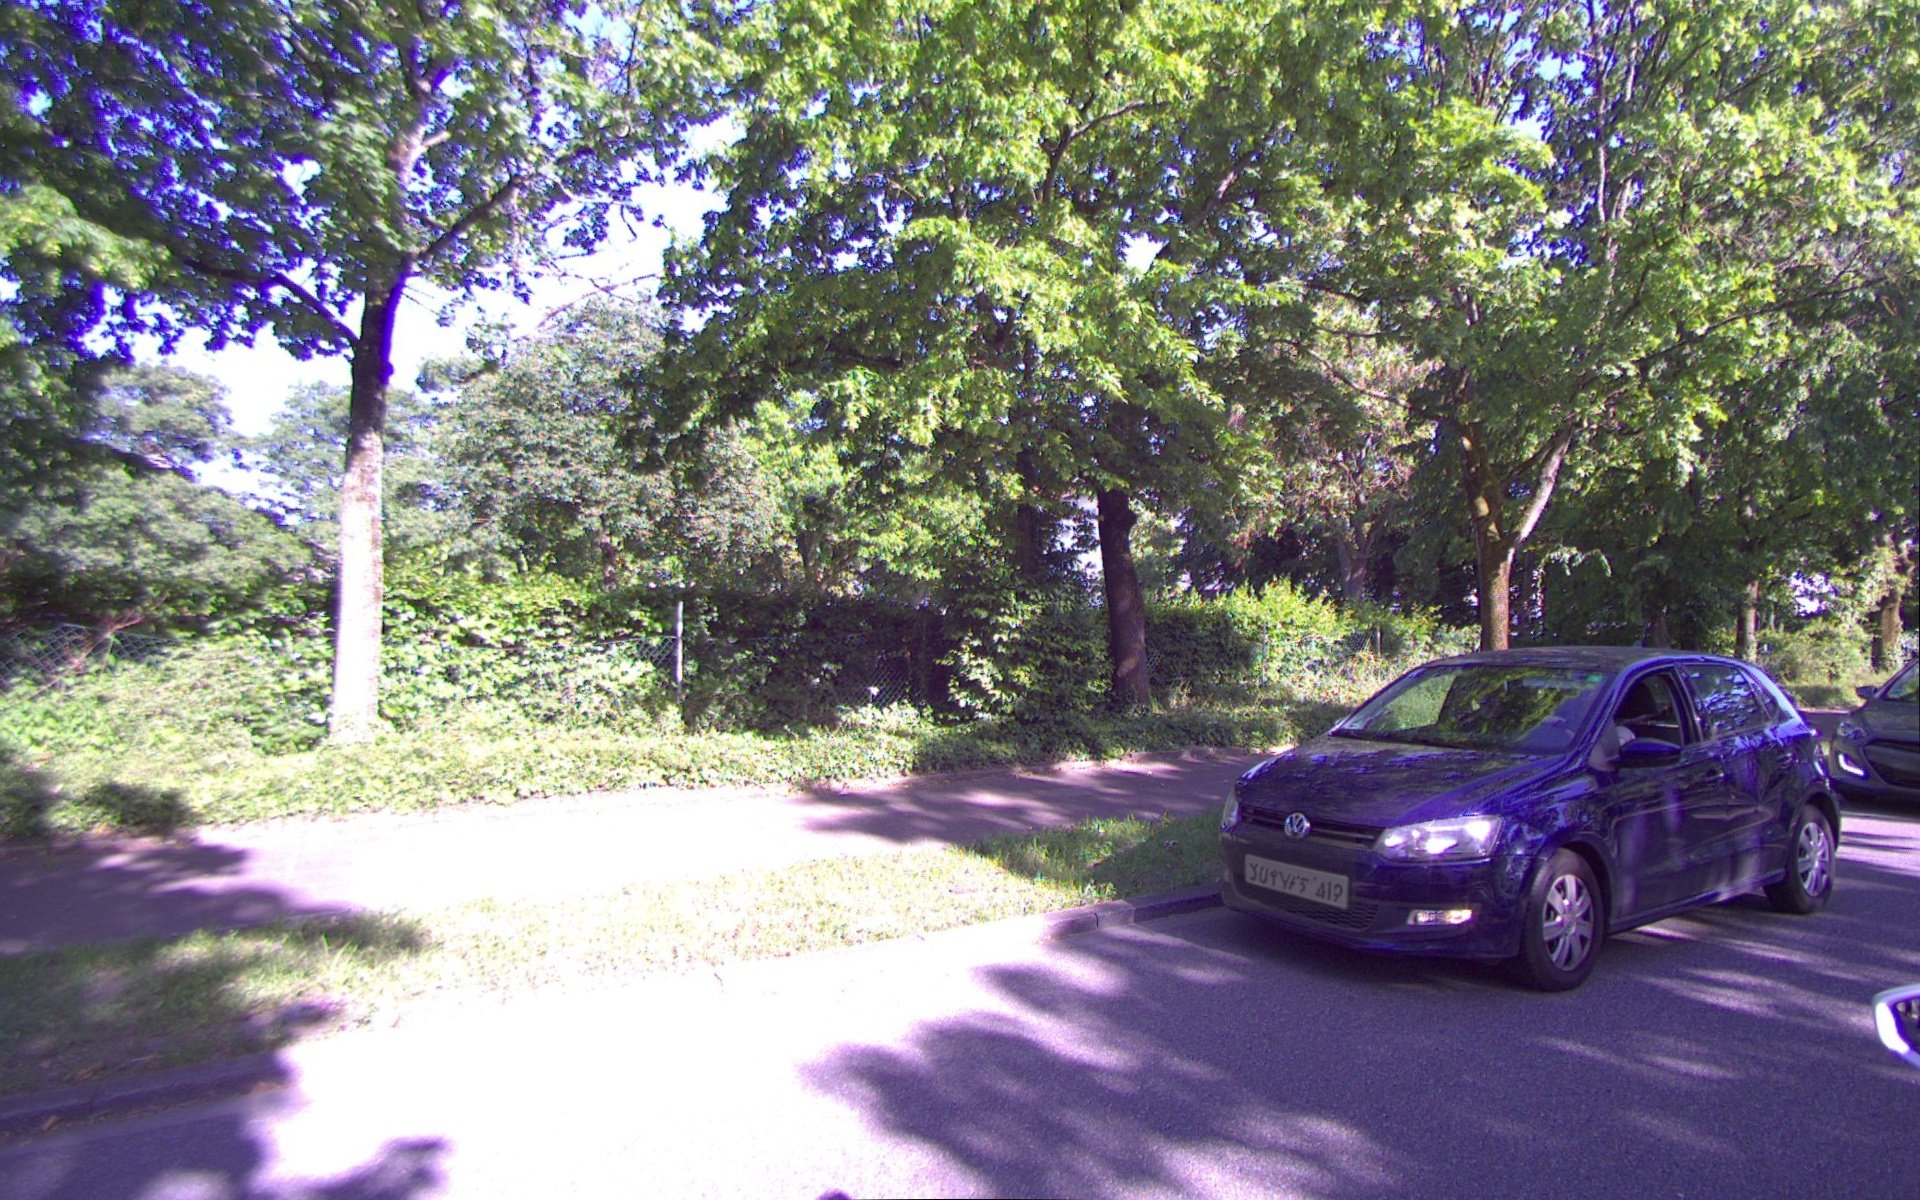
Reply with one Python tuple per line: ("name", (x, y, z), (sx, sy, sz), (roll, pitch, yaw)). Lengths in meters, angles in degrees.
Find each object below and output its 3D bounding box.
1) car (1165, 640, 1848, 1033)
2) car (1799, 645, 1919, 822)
("car", (3.007, 0.950, 5.391), (3.609, 1.445, 1.593), (1, -2, -31))
("car", (9.950, 1.168, 9.492), (4.192, 1.473, 1.748), (1, -2, -30))
